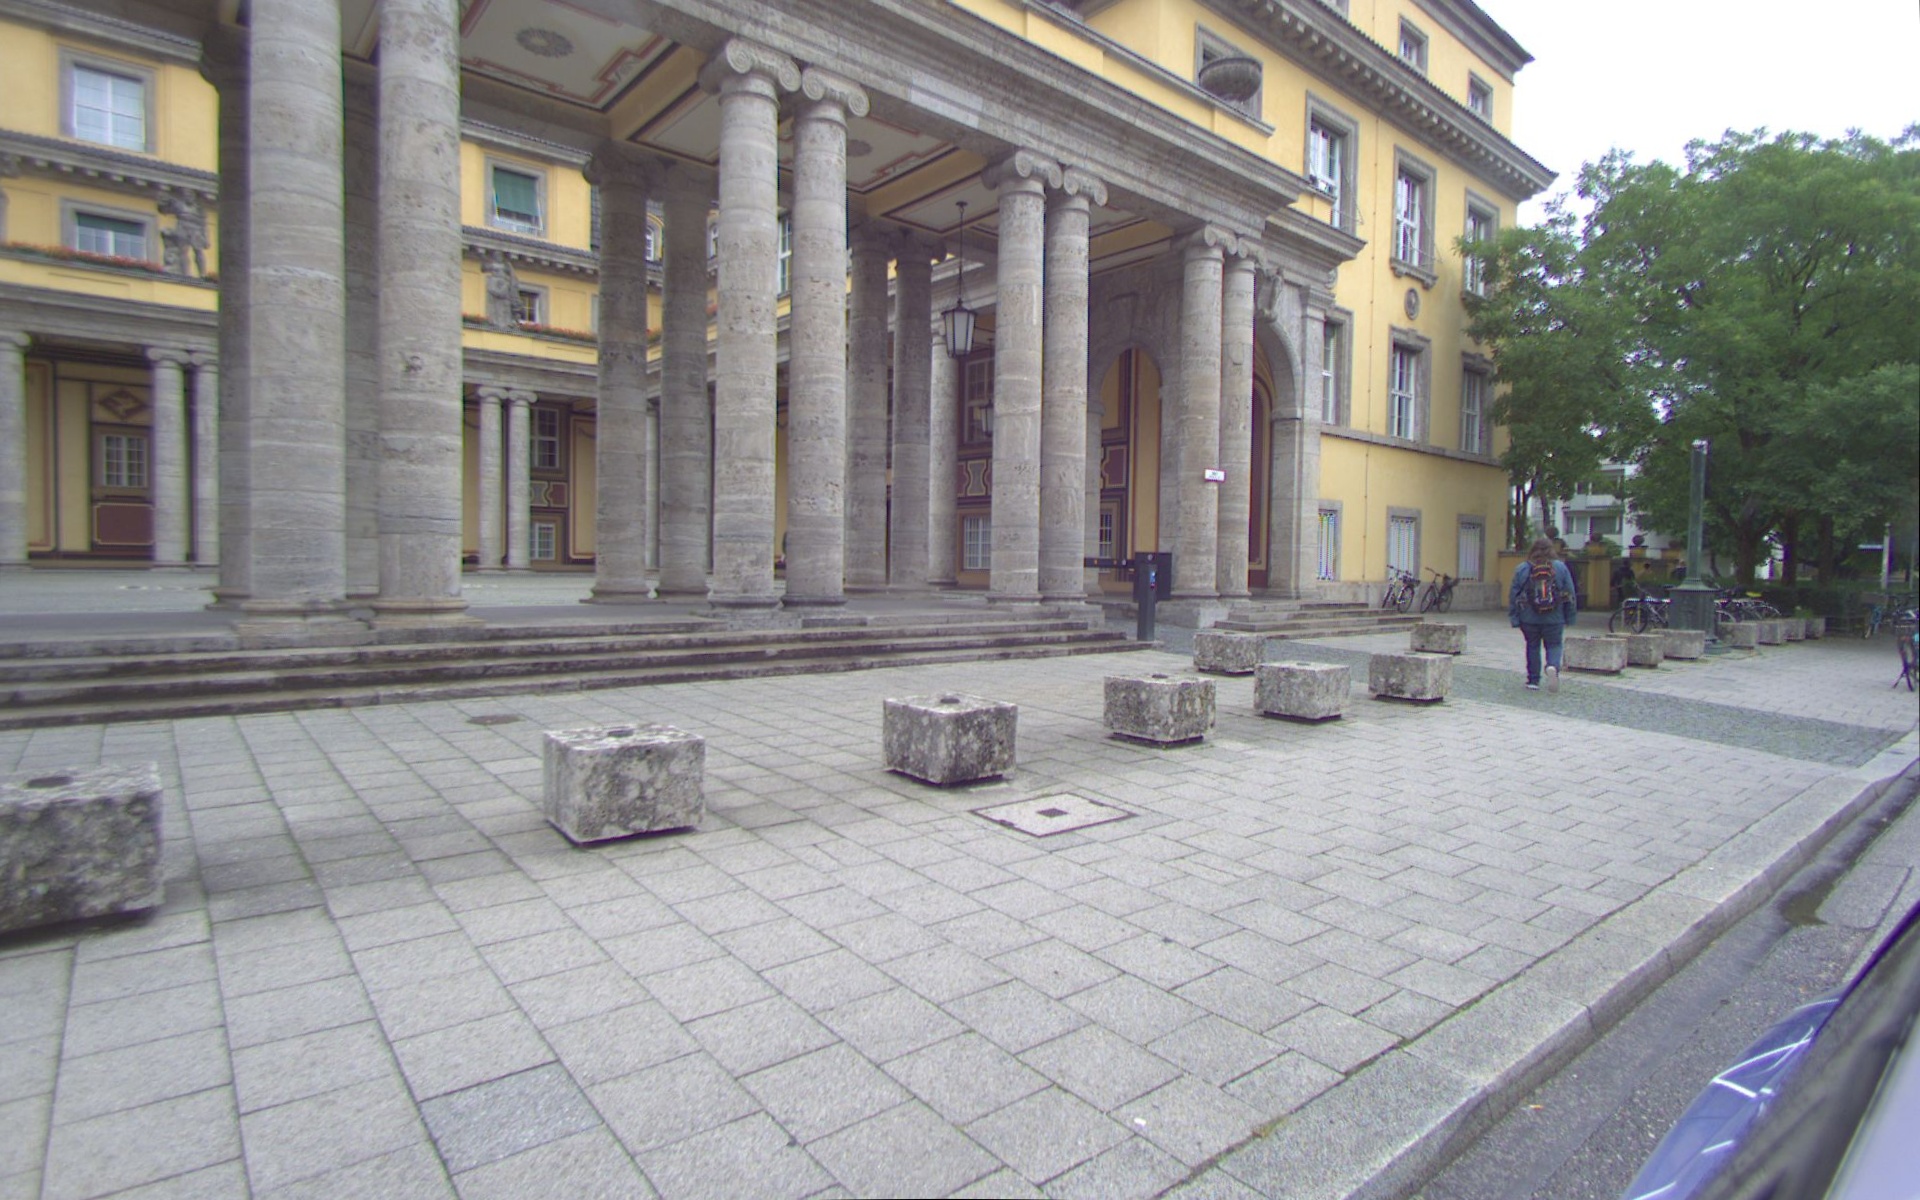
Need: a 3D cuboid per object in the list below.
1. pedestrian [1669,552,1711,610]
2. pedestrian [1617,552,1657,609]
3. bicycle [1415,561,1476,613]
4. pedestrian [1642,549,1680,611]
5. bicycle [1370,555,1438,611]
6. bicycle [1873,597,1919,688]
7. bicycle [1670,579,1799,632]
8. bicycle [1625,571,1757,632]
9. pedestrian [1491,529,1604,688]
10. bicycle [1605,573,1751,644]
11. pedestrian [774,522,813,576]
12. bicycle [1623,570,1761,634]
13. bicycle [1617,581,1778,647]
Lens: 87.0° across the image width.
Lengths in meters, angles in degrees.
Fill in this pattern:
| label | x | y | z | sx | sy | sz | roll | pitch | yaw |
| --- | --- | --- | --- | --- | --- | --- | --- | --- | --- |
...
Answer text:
| label | x | y | z | sx | sy | sz | roll | pitch | yaw |
| --- | --- | --- | --- | --- | --- | --- | --- | --- | --- |
| pedestrian | 24.630 | -0.647 | 34.149 | 1.017 | 1.887 | 0.782 | -1 | 6 | -41 |
| pedestrian | 21.779 | -0.638 | 32.556 | 0.827 | 1.764 | 0.741 | -1 | 6 | -40 |
| bicycle | 12.827 | -0.353 | 26.705 | 2.127 | 1.323 | 0.601 | -1 | 3 | -41 |
| pedestrian | 22.095 | -0.643 | 31.899 | 0.806 | 1.887 | 0.659 | -1 | 6 | -41 |
| bicycle | 11.075 | -0.438 | 25.189 | 2.224 | 1.323 | 0.601 | -1 | 3 | -41 |
| bicycle | 13.260 | 0.558 | 13.889 | 2.225 | 1.113 | 0.762 | -1 | 5 | -41 |
| bicycle | 17.985 | 0.106 | 23.565 | 0.591 | 1.023 | 2.264 | 1 | 4 | -37 |
| bicycle | 16.175 | 0.002 | 22.432 | 2.256 | 1.035 | 0.593 | 10 | 8 | 39 |
| pedestrian | 6.879 | 0.067 | 11.854 | 1.037 | 1.767 | 0.789 | -1 | 3 | -41 |
| bicycle | 14.373 | 0.145 | 20.313 | 2.256 | 1.107 | 0.593 | 10 | 8 | 39 |
| pedestrian | -5.545 | -1.689 | 33.723 | 0.966 | 1.742 | 0.806 | -1 | 0 | -37 |
| bicycle | 15.640 | 0.016 | 21.675 | 2.256 | 1.071 | 0.593 | 10 | 8 | 39 |
| bicycle | 13.930 | 0.234 | 19.172 | 2.362 | 1.018 | 0.668 | 7 | 5 | 41 |
